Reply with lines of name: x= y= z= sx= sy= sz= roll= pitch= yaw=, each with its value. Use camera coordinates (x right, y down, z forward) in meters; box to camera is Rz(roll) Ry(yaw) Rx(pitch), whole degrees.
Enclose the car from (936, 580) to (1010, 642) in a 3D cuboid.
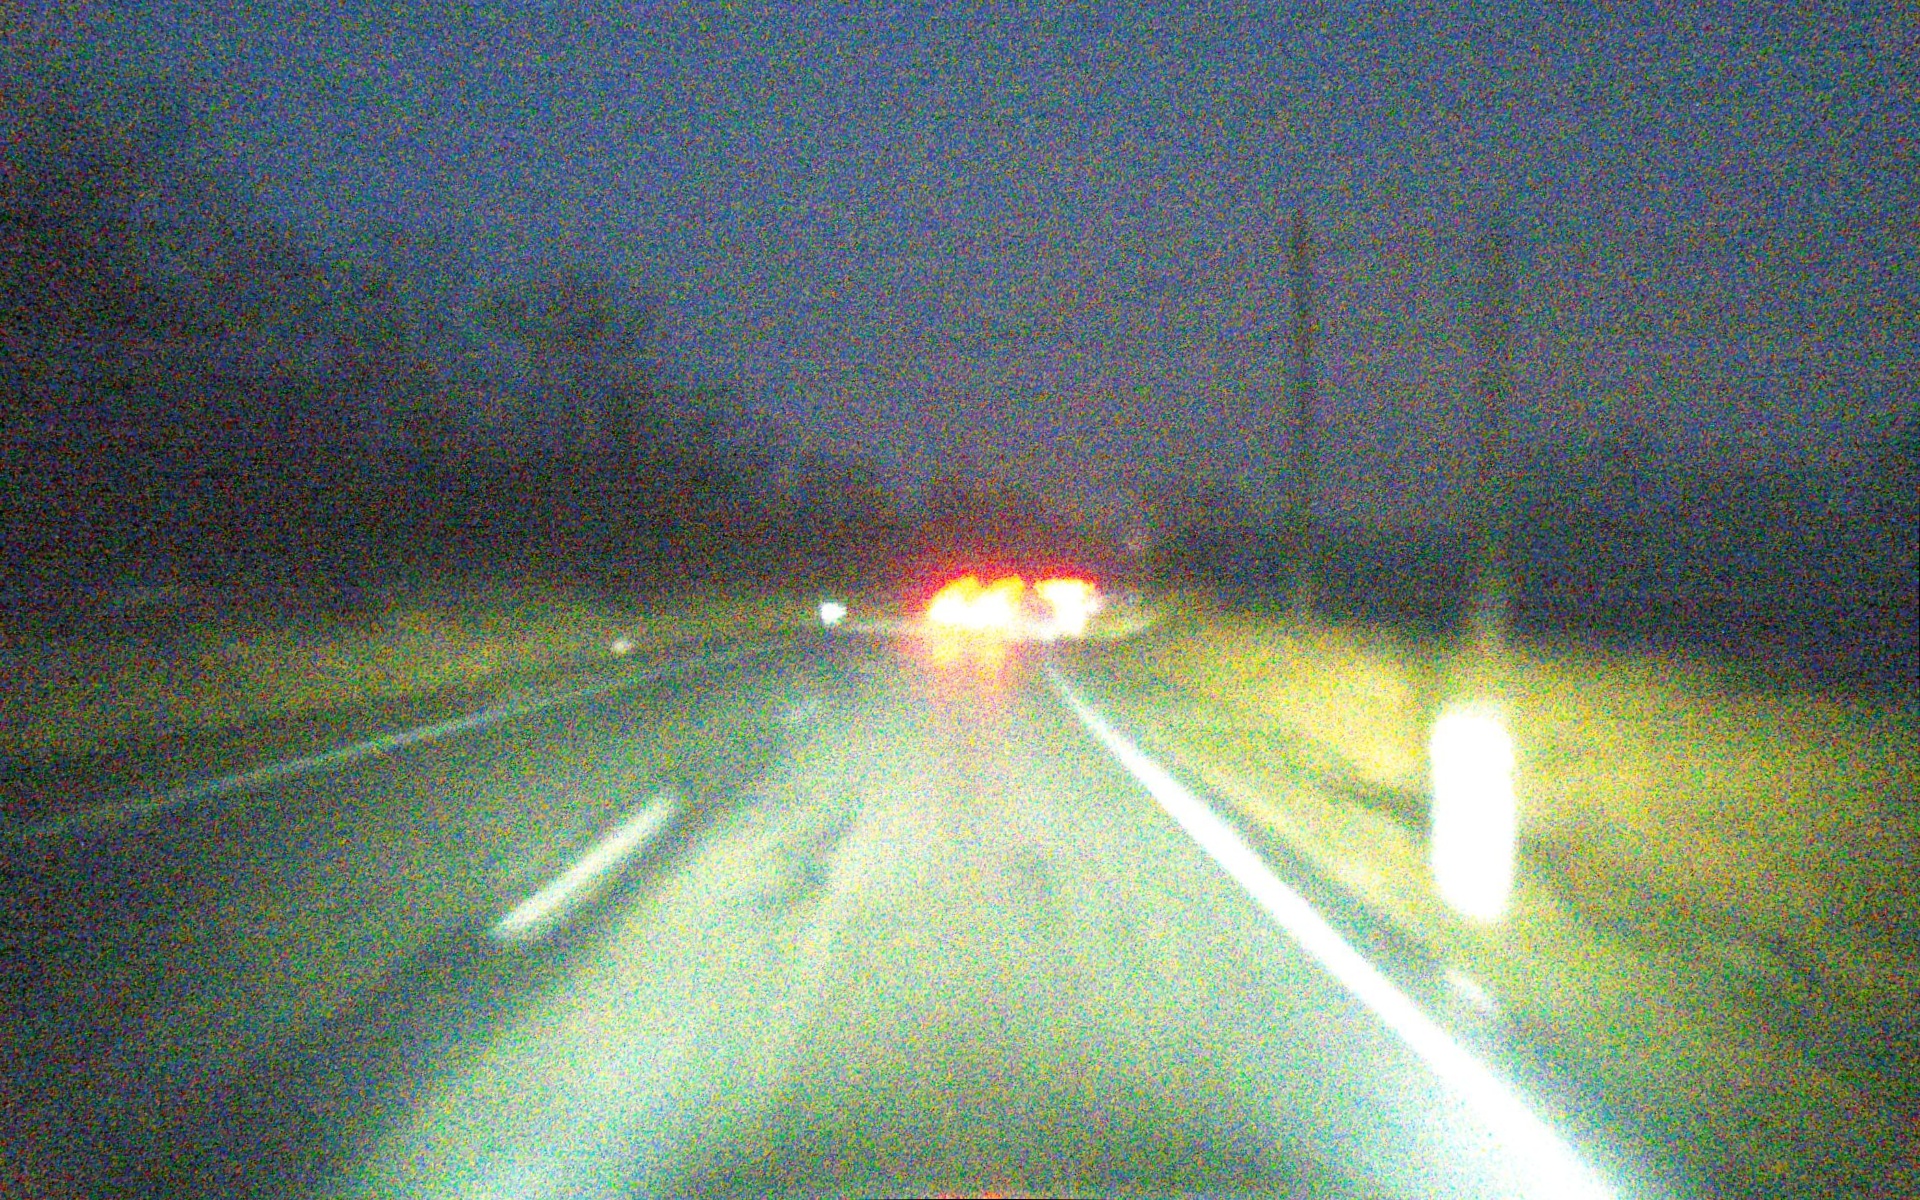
car: x=0.424 y=0.285 z=49.263 sx=1.803 sy=1.771 sz=4.003 roll=0 pitch=0 yaw=6
